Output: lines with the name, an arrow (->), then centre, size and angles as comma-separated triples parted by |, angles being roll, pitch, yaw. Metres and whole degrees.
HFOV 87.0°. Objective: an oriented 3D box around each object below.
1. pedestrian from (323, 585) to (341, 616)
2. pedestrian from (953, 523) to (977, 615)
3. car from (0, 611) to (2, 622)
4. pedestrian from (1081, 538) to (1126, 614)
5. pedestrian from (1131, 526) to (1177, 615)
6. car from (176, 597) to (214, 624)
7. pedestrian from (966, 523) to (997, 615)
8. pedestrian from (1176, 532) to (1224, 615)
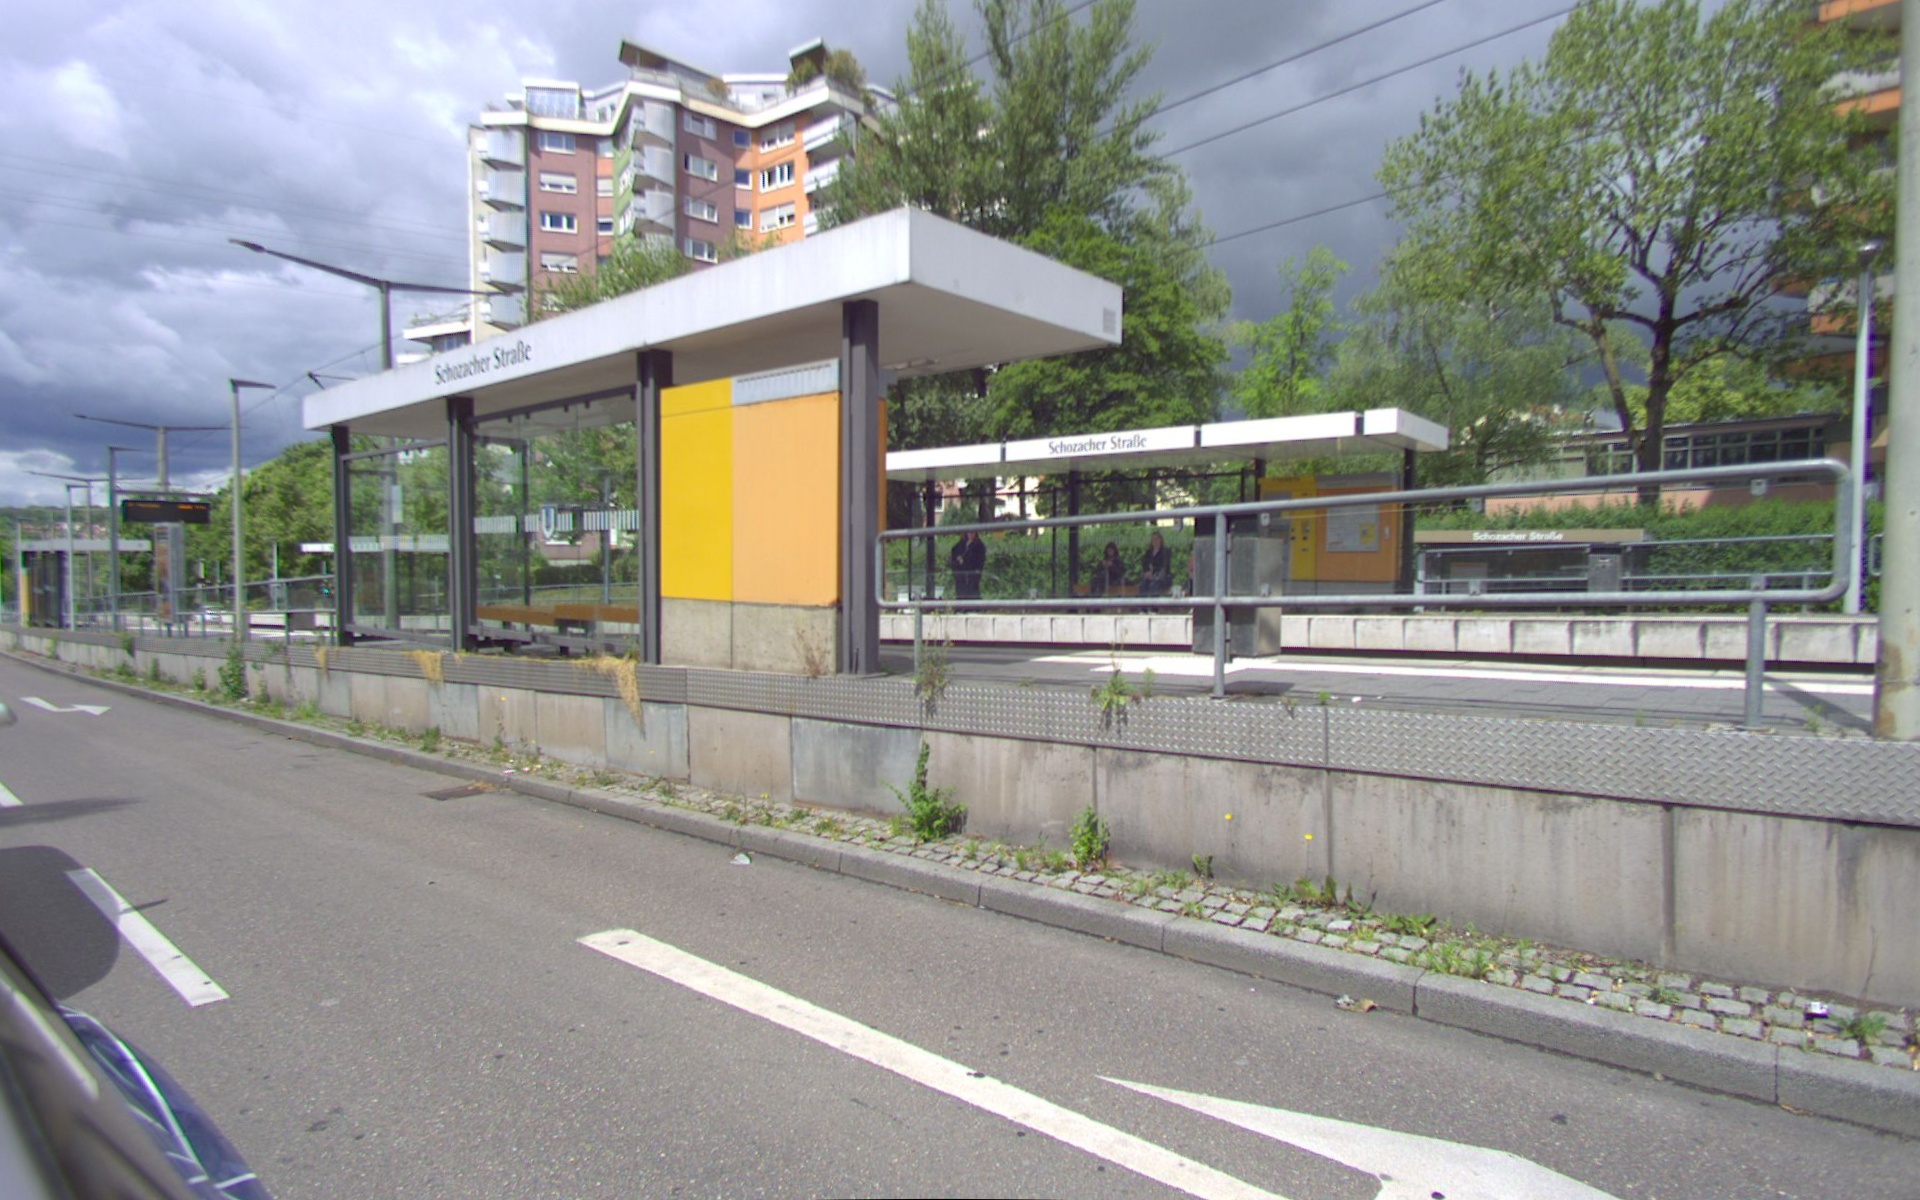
pedestrian -> -26.810, 0.028, 43.215 | 0.562, 1.287, 0.529 | -1, 0, 42
pedestrian -> 0.086, -0.580, 19.130 | 0.421, 1.726, 0.353 | -1, 0, -1
car -> -149.437, 2.578, 156.473 | 1.776, 1.720, 4.006 | -1, 1, -41
pedestrian -> 2.487, -0.401, 17.488 | 0.463, 1.287, 0.704 | -1, 0, 40
pedestrian -> 3.202, -0.480, 16.687 | 0.463, 1.428, 0.704 | -1, 0, 40
car -> -60.462, 0.827, 79.999 | 4.000, 2.029, 1.714 | -1, 0, 43
pedestrian -> 0.400, -0.584, 19.121 | 0.544, 1.726, 0.386 | -1, 0, -2
pedestrian -> 3.826, -0.418, 16.134 | 0.463, 1.287, 0.704 | -1, 0, 40
